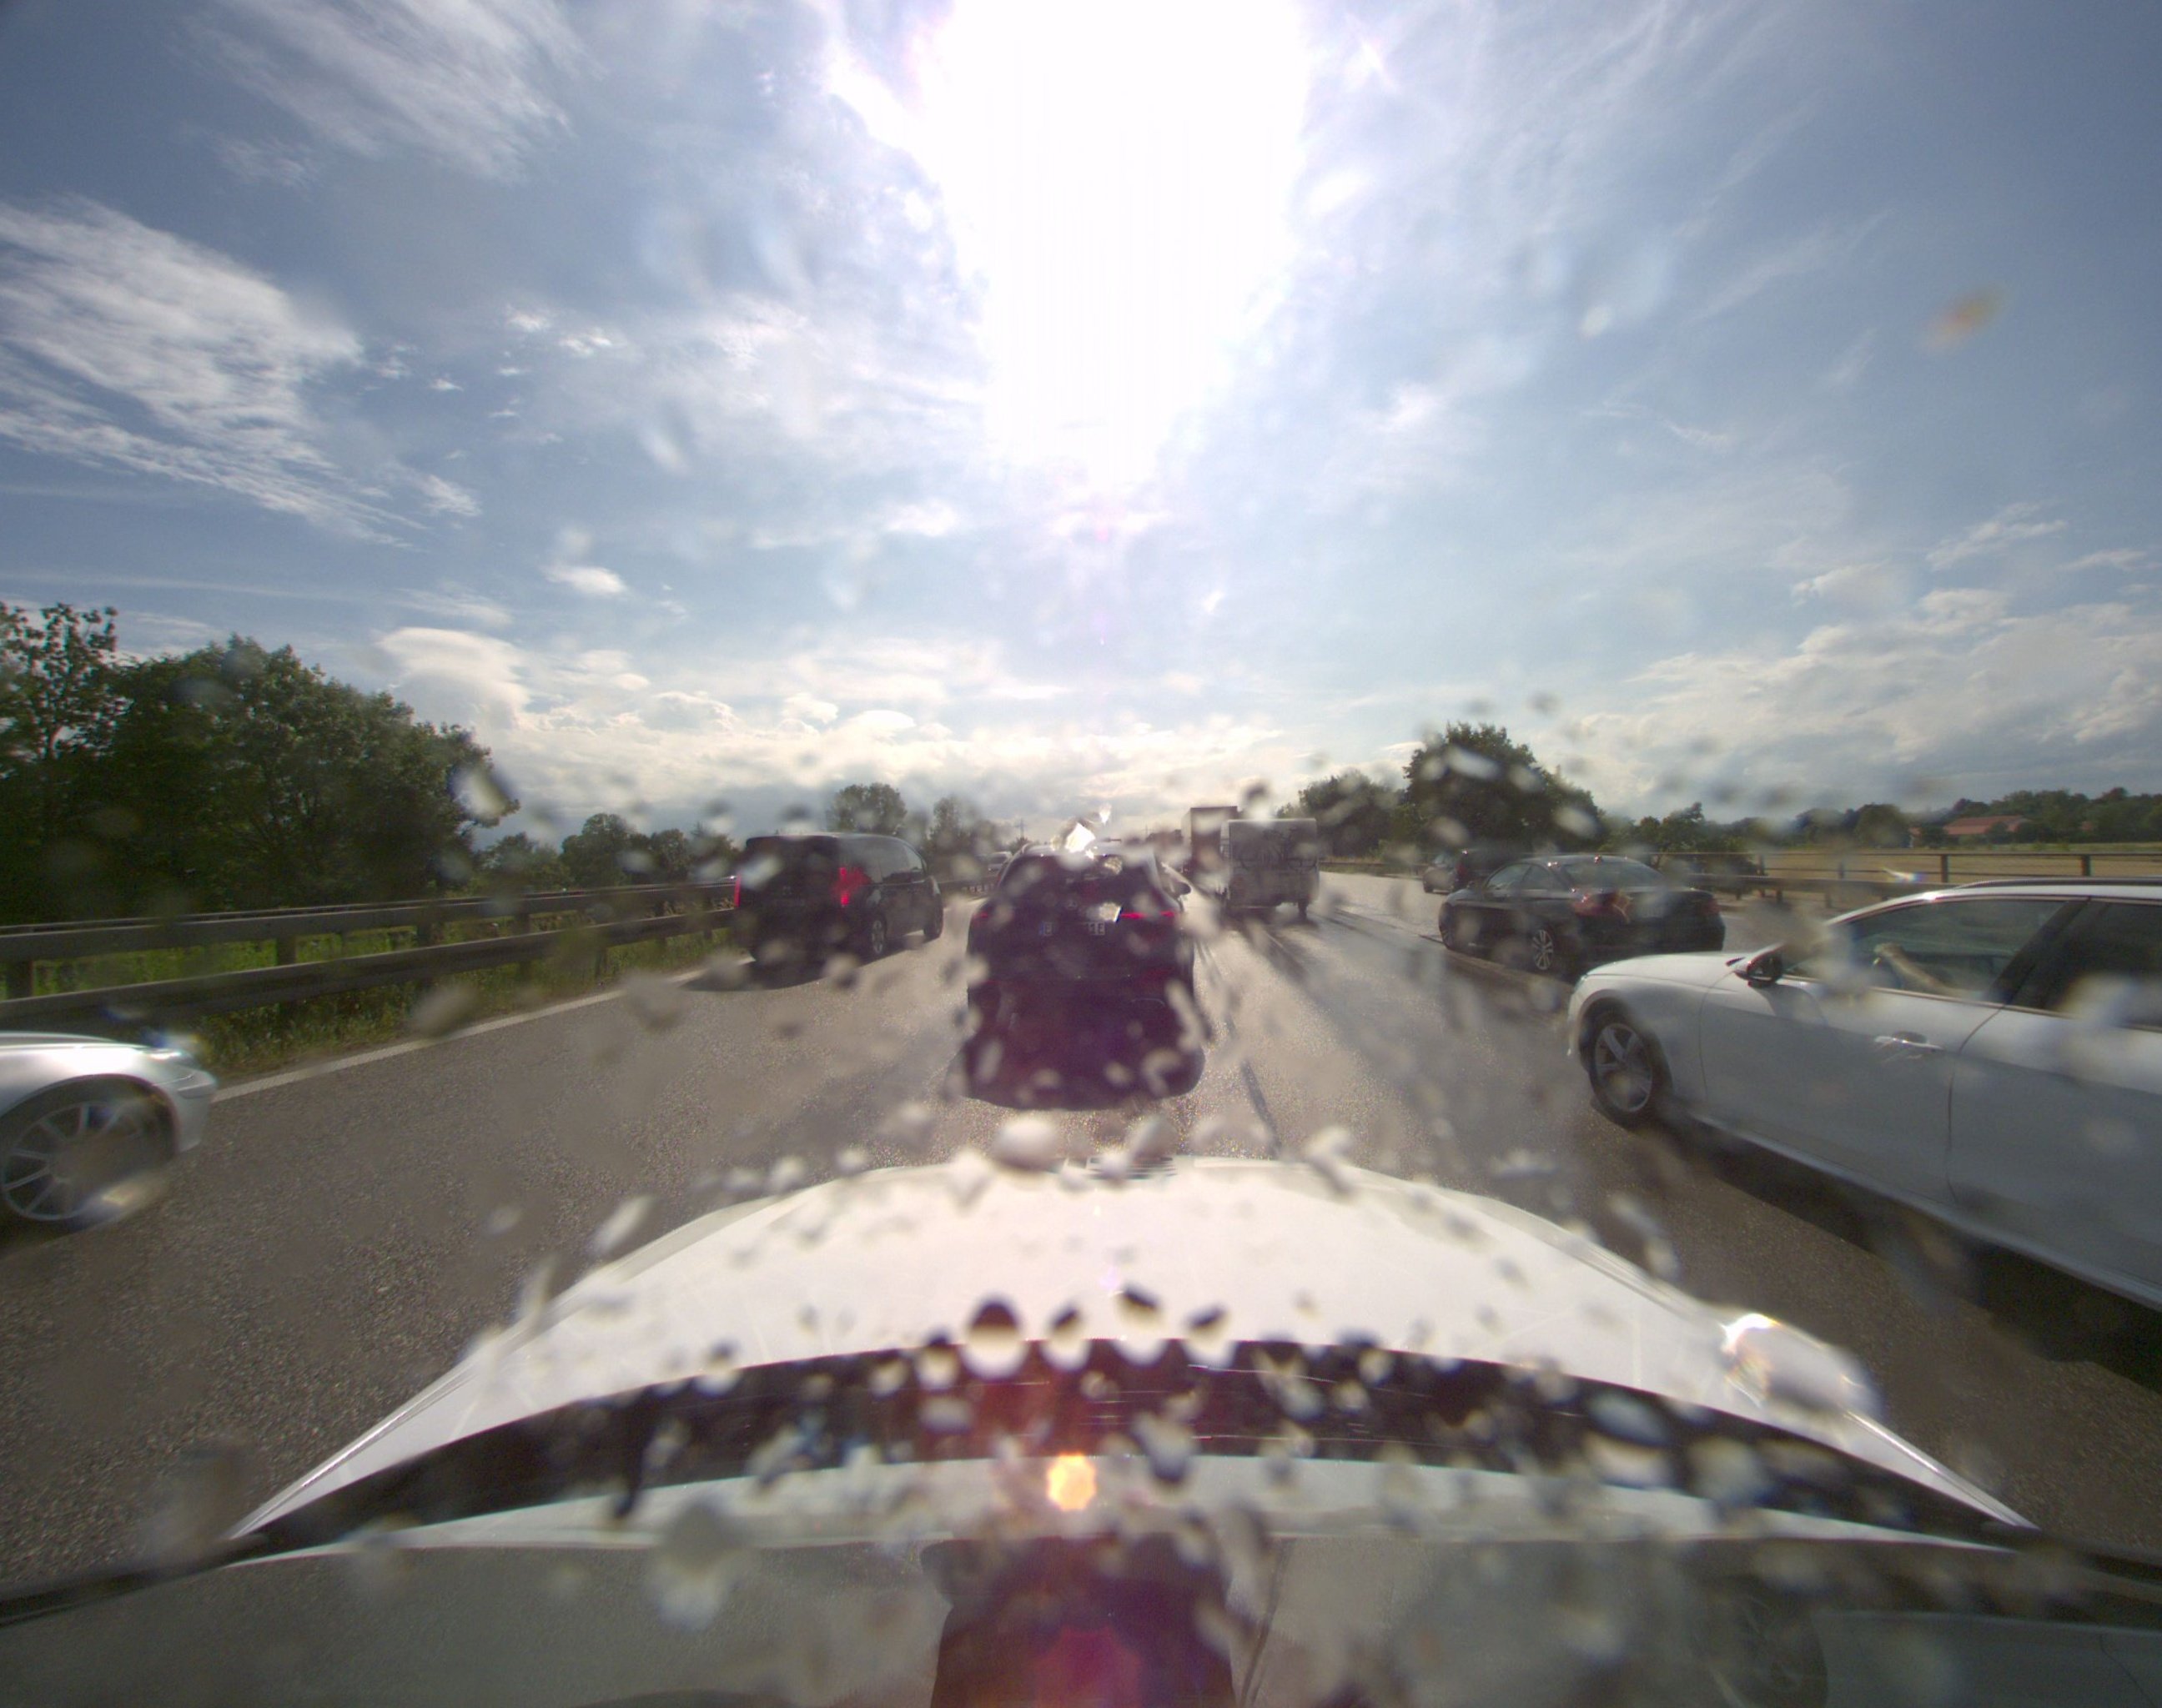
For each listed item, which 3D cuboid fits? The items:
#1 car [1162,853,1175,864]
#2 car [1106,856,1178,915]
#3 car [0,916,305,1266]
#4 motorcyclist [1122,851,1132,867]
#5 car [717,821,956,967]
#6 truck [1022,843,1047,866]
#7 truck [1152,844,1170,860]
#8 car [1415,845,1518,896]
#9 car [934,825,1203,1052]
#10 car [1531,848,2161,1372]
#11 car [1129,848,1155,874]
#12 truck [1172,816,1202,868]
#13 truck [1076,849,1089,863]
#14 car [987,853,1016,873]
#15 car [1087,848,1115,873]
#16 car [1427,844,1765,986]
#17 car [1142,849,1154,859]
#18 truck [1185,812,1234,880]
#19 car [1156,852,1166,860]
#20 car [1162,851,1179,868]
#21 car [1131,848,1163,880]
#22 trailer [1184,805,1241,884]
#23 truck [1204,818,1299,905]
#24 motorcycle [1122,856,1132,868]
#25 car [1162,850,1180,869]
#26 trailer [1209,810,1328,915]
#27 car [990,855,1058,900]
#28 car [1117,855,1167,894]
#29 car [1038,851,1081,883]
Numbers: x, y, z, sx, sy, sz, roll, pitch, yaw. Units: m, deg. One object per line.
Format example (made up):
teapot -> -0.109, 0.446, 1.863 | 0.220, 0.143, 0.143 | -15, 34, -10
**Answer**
car -> 14.797, 0.744, 137.967 | 1.868, 1.760, 4.003 | -1, 0, 3
car -> 1.724, 0.784, 21.997 | 1.748, 1.387, 3.952 | -1, 0, 6
car -> -5.172, 0.988, 2.360 | 1.716, 1.278, 4.069 | -1, 0, 5
motorcyclist -> 5.034, 0.519, 89.726 | 1.059, 1.718, 0.786 | -1, -1, 3
car -> -3.860, 0.574, 14.069 | 1.983, 2.013, 5.279 | -1, 0, 6
truck -> -7.797, 0.157, 137.576 | 2.848, 3.821, 7.888 | -1, -1, 5
truck -> 19.781, -0.437, 201.962 | 3.828, 4.017, 11.225 | -1, 0, 2
car -> 12.828, 0.516, 27.375 | 1.839, 1.568, 4.006 | -1, 0, 5
car -> 0.103, 0.649, 8.266 | 1.984, 1.661, 4.412 | -1, 0, 5
car -> 3.854, 0.701, 2.978 | 1.821, 1.425, 4.508 | -2, -1, -1
car -> 4.932, 0.562, 65.396 | 1.983, 2.013, 4.007 | -1, 0, 6
truck -> 10.246, -1.129, 79.436 | 2.490, 4.830, 7.552 | -1, 0, 4
truck -> 0.601, 0.638, 244.206 | 2.990, 4.103, 7.697 | -3, -1, 5
car -> -8.423, 0.905, 86.685 | 1.984, 2.013, 5.566 | -2, 0, 5
car -> 1.795, 0.581, 71.389 | 1.983, 2.013, 4.007 | 2, 0, 6
car -> 6.428, 0.671, 10.873 | 1.842, 1.464, 4.256 | -2, 0, 1
car -> 11.836, -0.034, 143.947 | 1.868, 1.760, 4.003 | -1, 0, 3
truck -> 8.360, -0.495, 53.540 | 2.979, 4.166, 5.251 | -1, 0, 7
car -> 17.629, 0.488, 179.616 | 1.868, 1.760, 4.003 | -1, 0, 3
car -> 10.871, 0.663, 98.744 | 1.983, 2.013, 4.007 | 2, 0, 6
car -> 4.502, 0.628, 55.028 | 1.983, 2.013, 4.007 | 2, 0, 6
trailer -> 7.633, -0.499, 48.058 | 2.990, 4.166, 8.554 | -1, 0, 8
truck -> 5.311, 0.234, 26.211 | 2.363, 2.477, 5.764 | -1, 0, 5
motorcycle -> 5.037, 0.855, 89.633 | 1.069, 1.271, 2.692 | -1, 0, 3
car -> 9.760, 0.609, 88.295 | 1.983, 2.013, 4.007 | 0, 0, 6
trailer -> 4.968, 0.226, 22.667 | 2.363, 2.483, 6.532 | -1, 0, 5
car -> -2.050, 0.802, 30.273 | 1.748, 1.516, 4.216 | -1, 0, 6
car -> 2.435, 0.748, 31.727 | 1.797, 1.407, 4.006 | -1, 0, 6
car -> -1.129, 0.699, 45.243 | 1.984, 1.720, 4.004 | -1, 0, 4
